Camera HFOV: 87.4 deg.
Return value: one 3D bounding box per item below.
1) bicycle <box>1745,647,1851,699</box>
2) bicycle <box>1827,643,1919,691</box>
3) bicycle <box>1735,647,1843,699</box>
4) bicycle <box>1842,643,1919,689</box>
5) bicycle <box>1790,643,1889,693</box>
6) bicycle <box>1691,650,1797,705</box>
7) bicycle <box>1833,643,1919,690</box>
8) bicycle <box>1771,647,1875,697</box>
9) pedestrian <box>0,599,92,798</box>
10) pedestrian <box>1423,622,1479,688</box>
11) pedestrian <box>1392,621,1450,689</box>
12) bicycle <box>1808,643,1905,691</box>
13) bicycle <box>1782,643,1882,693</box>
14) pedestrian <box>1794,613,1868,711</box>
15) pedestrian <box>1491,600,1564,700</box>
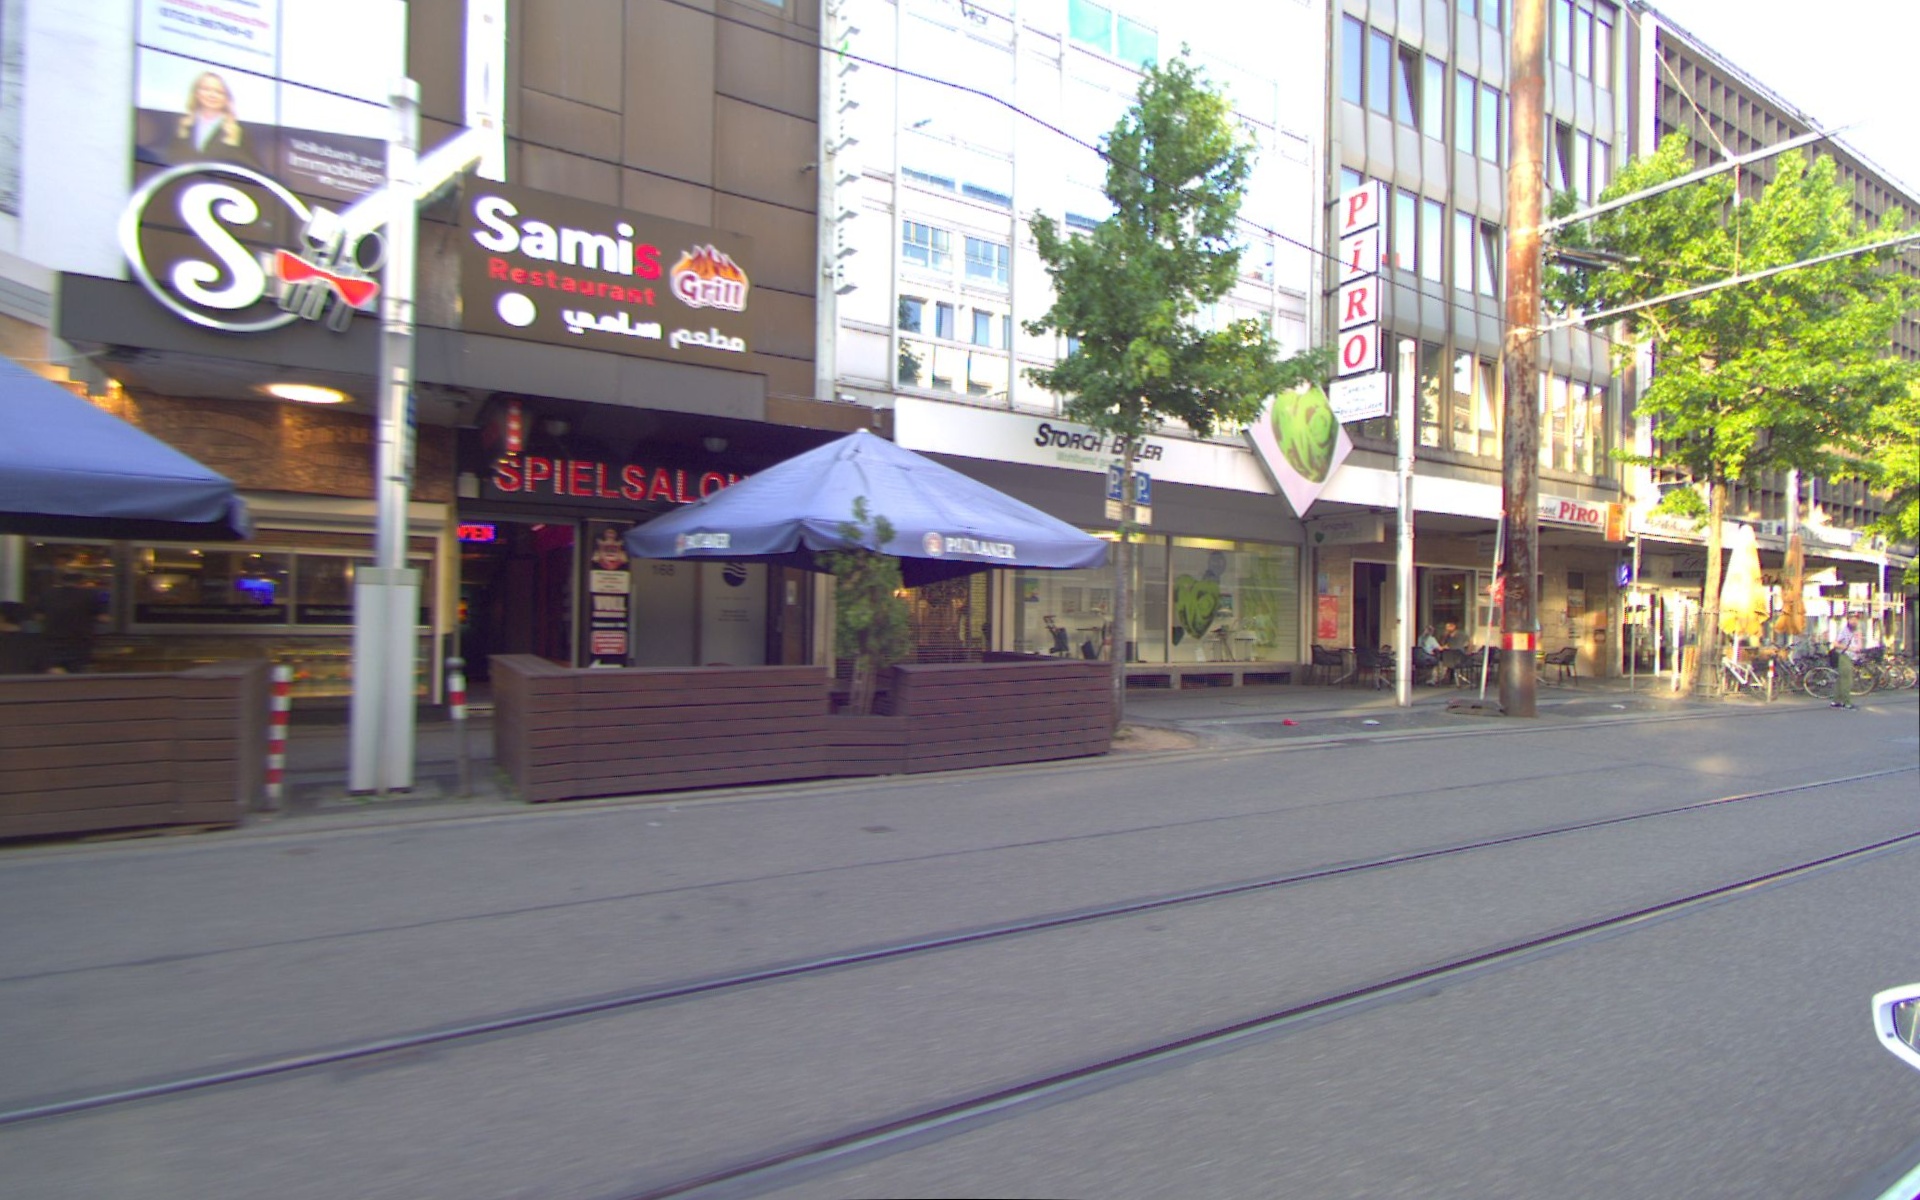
[{"bbox_3d":[18.737,1.610,22.495,0.485,1.003,1.759,0,1,-36],"label":"bicycle"},{"bbox_3d":[23.835,1.726,26.190,0.485,1.085,1.759,1,1,-36],"label":"bicycle"},{"bbox_3d":[18.297,1.594,22.212,0.485,1.003,1.759,0,1,-36],"label":"bicycle"},{"bbox_3d":[24.818,1.760,26.854,0.485,1.085,1.759,1,1,-36],"label":"bicycle"},{"bbox_3d":[21.778,1.655,24.891,0.485,1.085,1.759,1,1,-36],"label":"bicycle"},{"bbox_3d":[16.246,1.585,20.866,0.481,0.978,1.772,2,0,-14],"label":"bicycle"},{"bbox_3d":[24.265,1.741,26.522,0.485,1.085,1.759,1,1,-36],"label":"bicycle"},{"bbox_3d":[19.926,1.651,23.226,0.485,1.003,1.759,0,1,-36],"label":"bicycle"},{"bbox_3d":[-7.175,0.722,7.624,0.738,1.420,0.760,2,1,-32],"label":"pedestrian"},{"bbox_3d":[10.530,1.170,21.551,0.902,1.343,0.666,2,1,-33],"label":"pedestrian"},{"bbox_3d":[9.571,1.138,20.850,0.902,1.343,0.666,2,1,-33],"label":"pedestrian"},{"bbox_3d":[22.794,1.690,25.582,0.485,1.085,1.759,1,1,-36],"label":"bicycle"},{"bbox_3d":[21.303,1.638,24.573,0.485,1.085,1.759,1,1,-36],"label":"bicycle"},{"bbox_3d":[16.802,1.183,19.400,0.806,1.816,0.990,1,-1,22],"label":"pedestrian"},{"bbox_3d":[10.687,0.934,18.926,0.977,1.816,0.682,2,1,-26],"label":"pedestrian"}]
